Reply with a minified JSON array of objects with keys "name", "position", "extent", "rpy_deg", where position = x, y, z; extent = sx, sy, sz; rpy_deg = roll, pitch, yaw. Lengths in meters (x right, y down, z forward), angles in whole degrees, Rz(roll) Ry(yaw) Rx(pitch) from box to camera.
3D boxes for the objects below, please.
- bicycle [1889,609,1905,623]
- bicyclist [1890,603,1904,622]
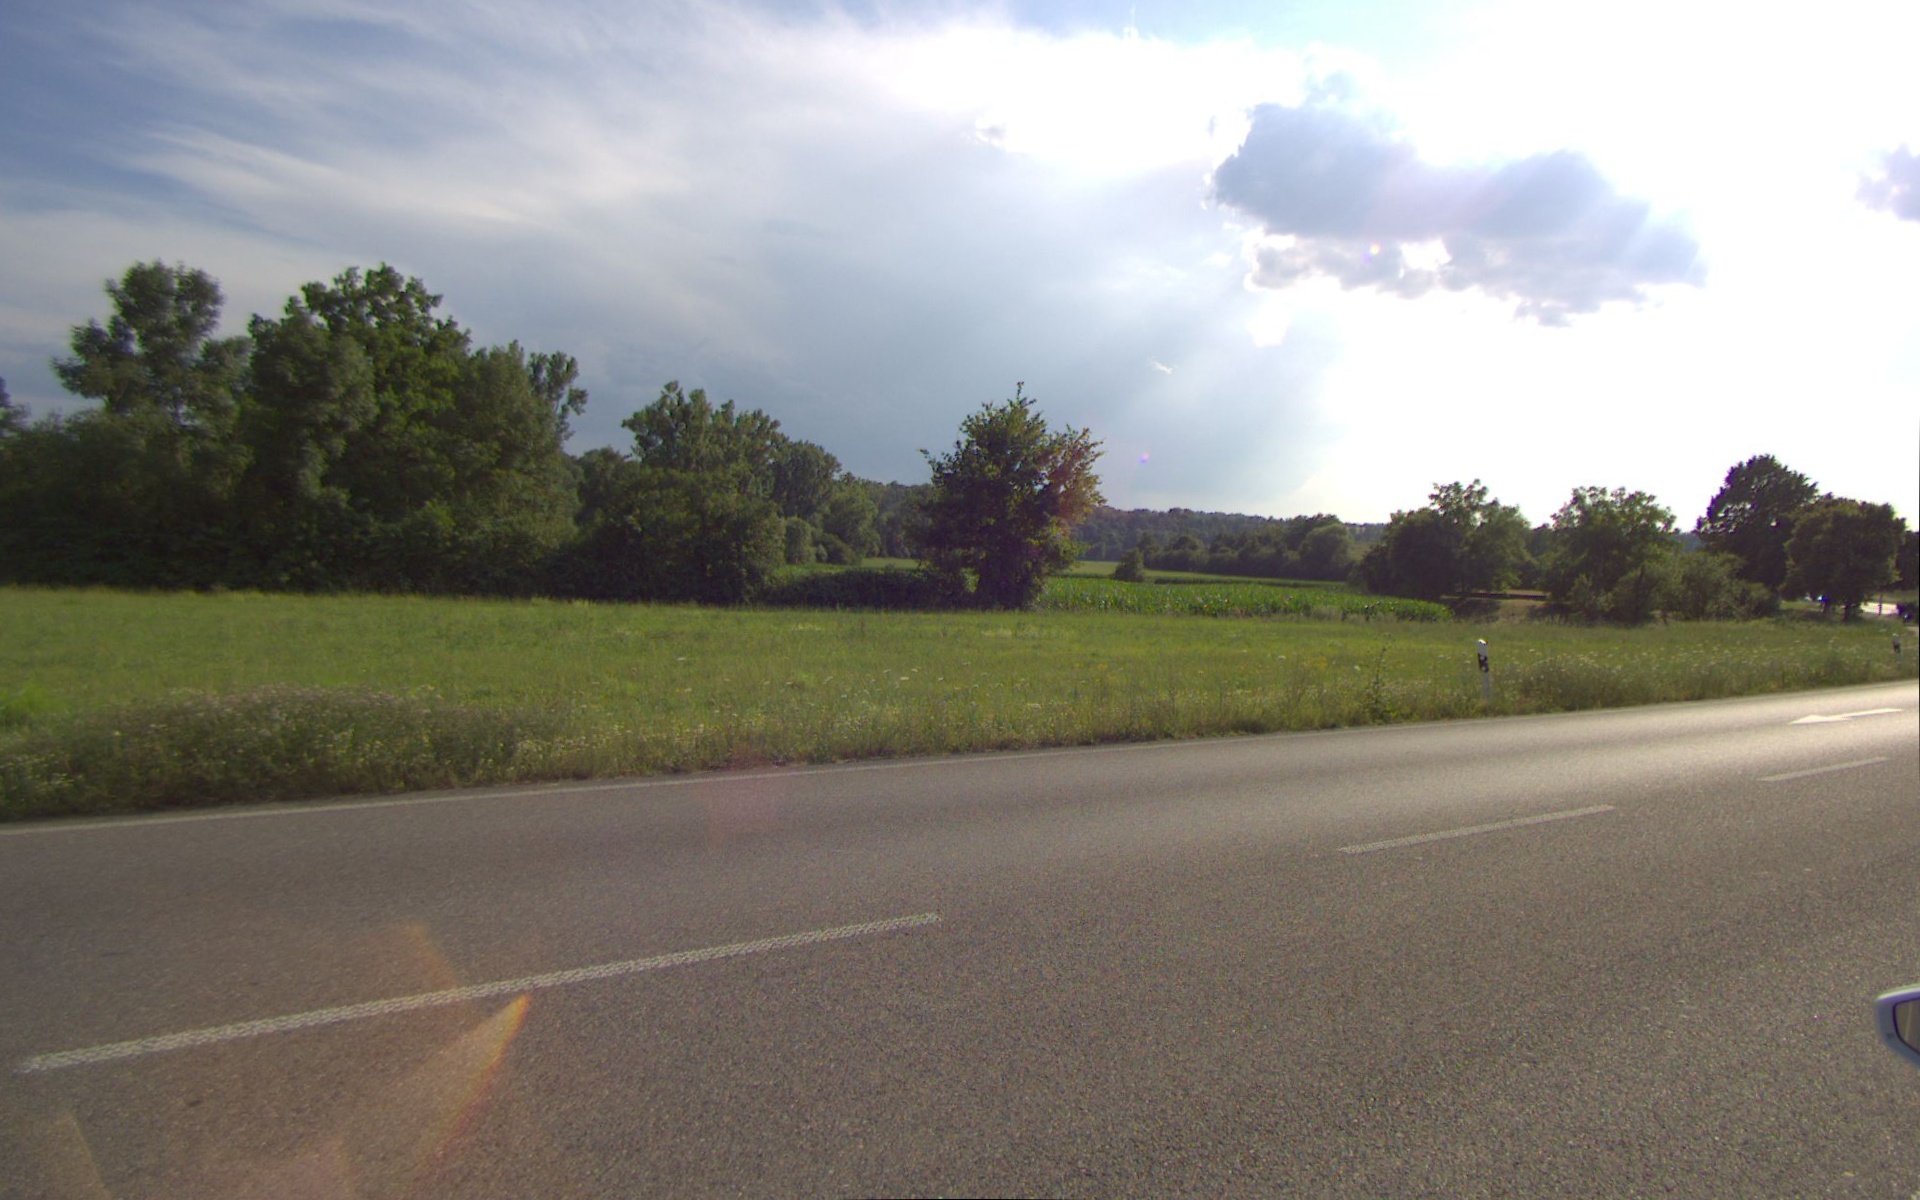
[{"name":"bicycle","position":[73.552,1.256,78.868],"extent":[1.656,1.089,0.630],"rpy_deg":[1,2,-39]},{"name":"bicyclist","position":[73.494,0.999,78.799],"extent":[0.685,1.439,0.630],"rpy_deg":[1,2,-38]}]
